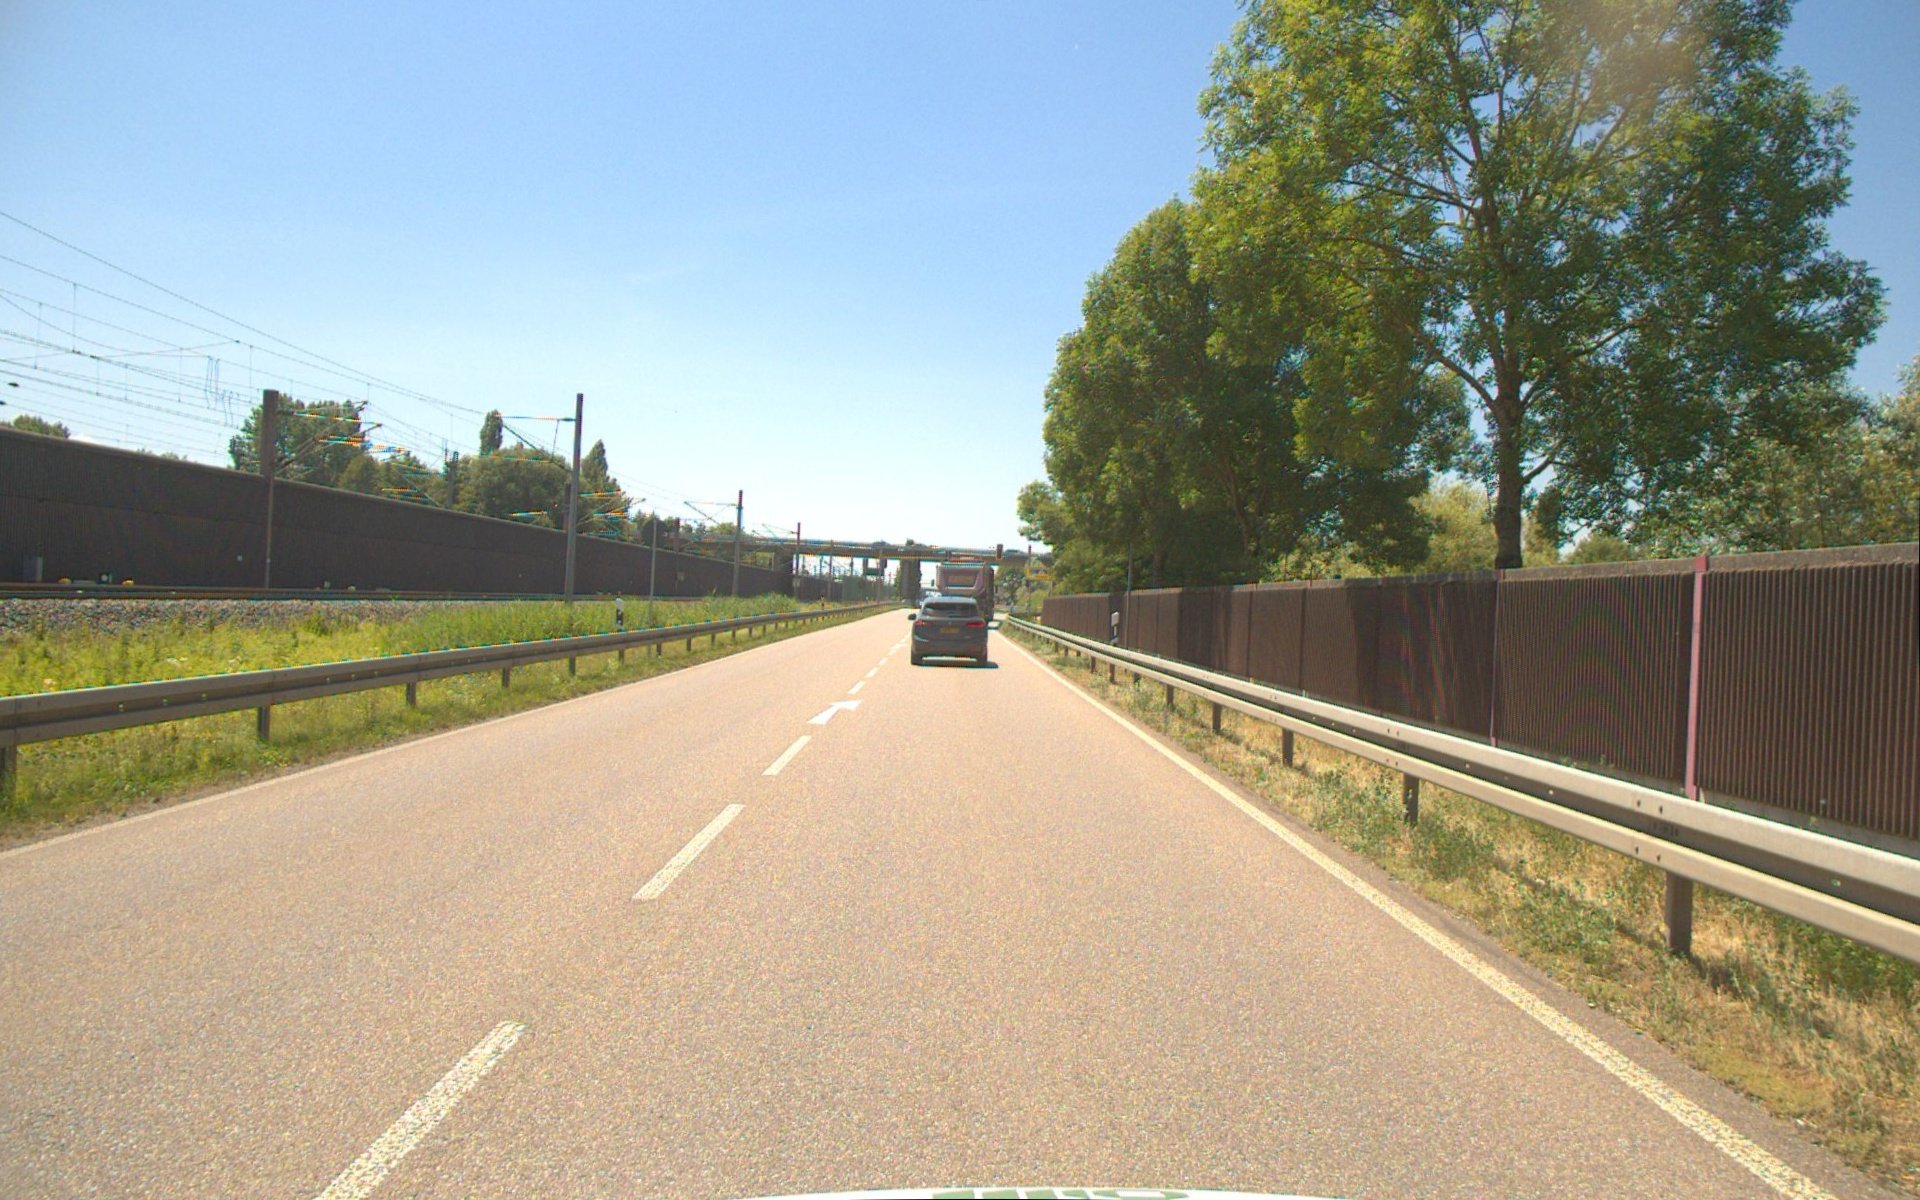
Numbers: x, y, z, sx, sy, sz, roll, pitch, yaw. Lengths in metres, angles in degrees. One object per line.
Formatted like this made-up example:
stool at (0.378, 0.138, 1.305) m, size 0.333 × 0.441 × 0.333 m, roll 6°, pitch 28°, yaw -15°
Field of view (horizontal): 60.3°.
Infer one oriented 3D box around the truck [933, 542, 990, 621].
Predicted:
truck at (0.168, -0.912, 88.996) m, size 2.775 × 3.888 × 11.886 m, roll 2°, pitch 0°, yaw 1°

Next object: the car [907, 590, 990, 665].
car at (-0.311, 0.620, 39.373) m, size 1.807 × 1.651 × 4.224 m, roll 2°, pitch 0°, yaw -1°

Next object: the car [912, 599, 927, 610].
car at (-5.784, 0.575, 235.535) m, size 1.828 × 1.511 × 4.884 m, roll 2°, pitch 0°, yaw -4°
